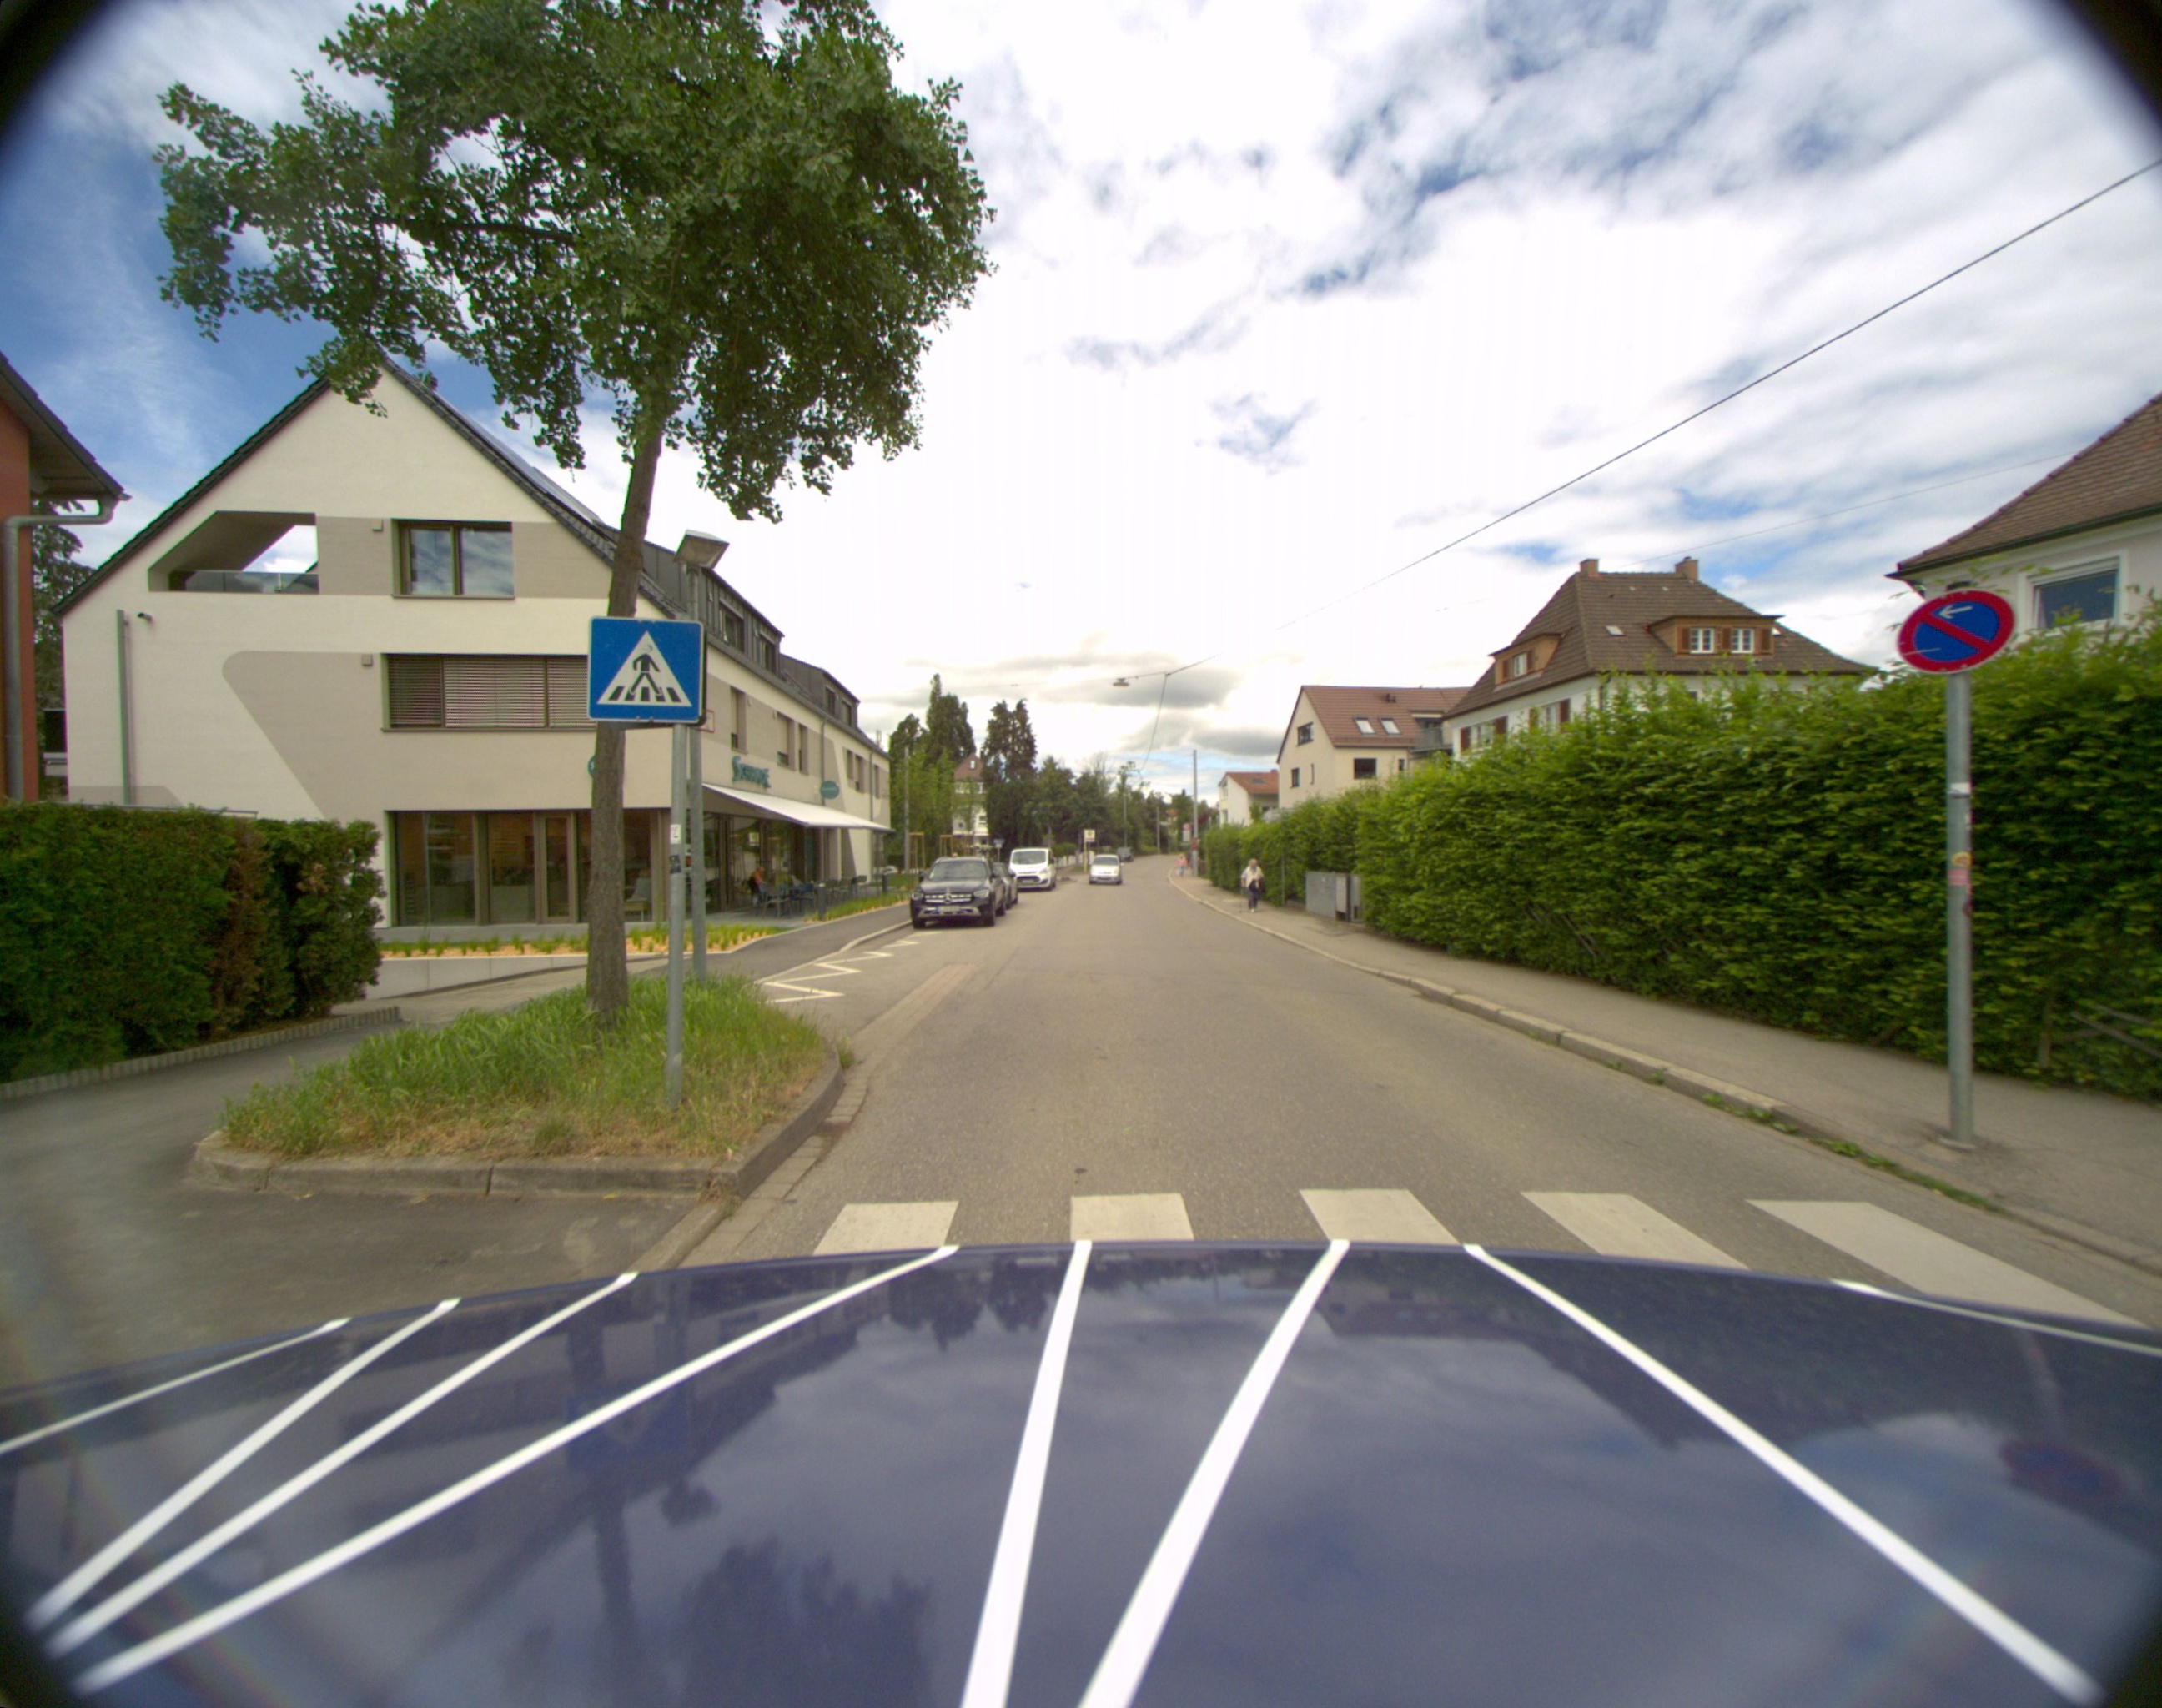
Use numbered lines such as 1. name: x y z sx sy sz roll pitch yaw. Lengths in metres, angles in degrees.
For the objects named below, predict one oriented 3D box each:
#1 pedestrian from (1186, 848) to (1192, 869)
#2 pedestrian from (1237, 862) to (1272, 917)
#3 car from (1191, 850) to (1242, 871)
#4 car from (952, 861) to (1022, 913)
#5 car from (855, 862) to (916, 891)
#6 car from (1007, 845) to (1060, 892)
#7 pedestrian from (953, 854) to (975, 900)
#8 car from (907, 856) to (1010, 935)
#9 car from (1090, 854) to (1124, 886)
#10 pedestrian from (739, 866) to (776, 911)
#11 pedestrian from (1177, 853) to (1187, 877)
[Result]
1. pedestrian: 9.976 0.415 70.009 0.535 1.940 0.528 -1 1 11
2. pedestrian: 4.955 1.002 21.721 0.749 1.522 0.544 -2 1 -12
3. car: 11.343 0.561 63.744 3.996 1.718 1.885 -1 1 3
4. car: -2.908 0.990 24.244 1.711 1.444 3.834 -2 0 0
5. car: -13.750 1.563 53.659 3.844 1.587 1.875 -5 1 -6
6. car: -2.155 0.629 35.975 1.998 2.002 5.567 -2 0 1
7. pedestrian: -4.287 0.851 27.870 0.678 1.659 0.660 0 1 1
8. car: -2.869 0.907 18.713 1.852 1.627 4.465 -2 0 -1
9. car: 1.392 0.829 41.268 1.726 1.559 3.927 -1 0 1
10. pedestrian: -9.192 0.976 21.604 0.753 1.231 0.691 -1 1 -5
11. pedestrian: 6.819 0.744 51.272 0.619 1.589 0.608 -1 1 0
